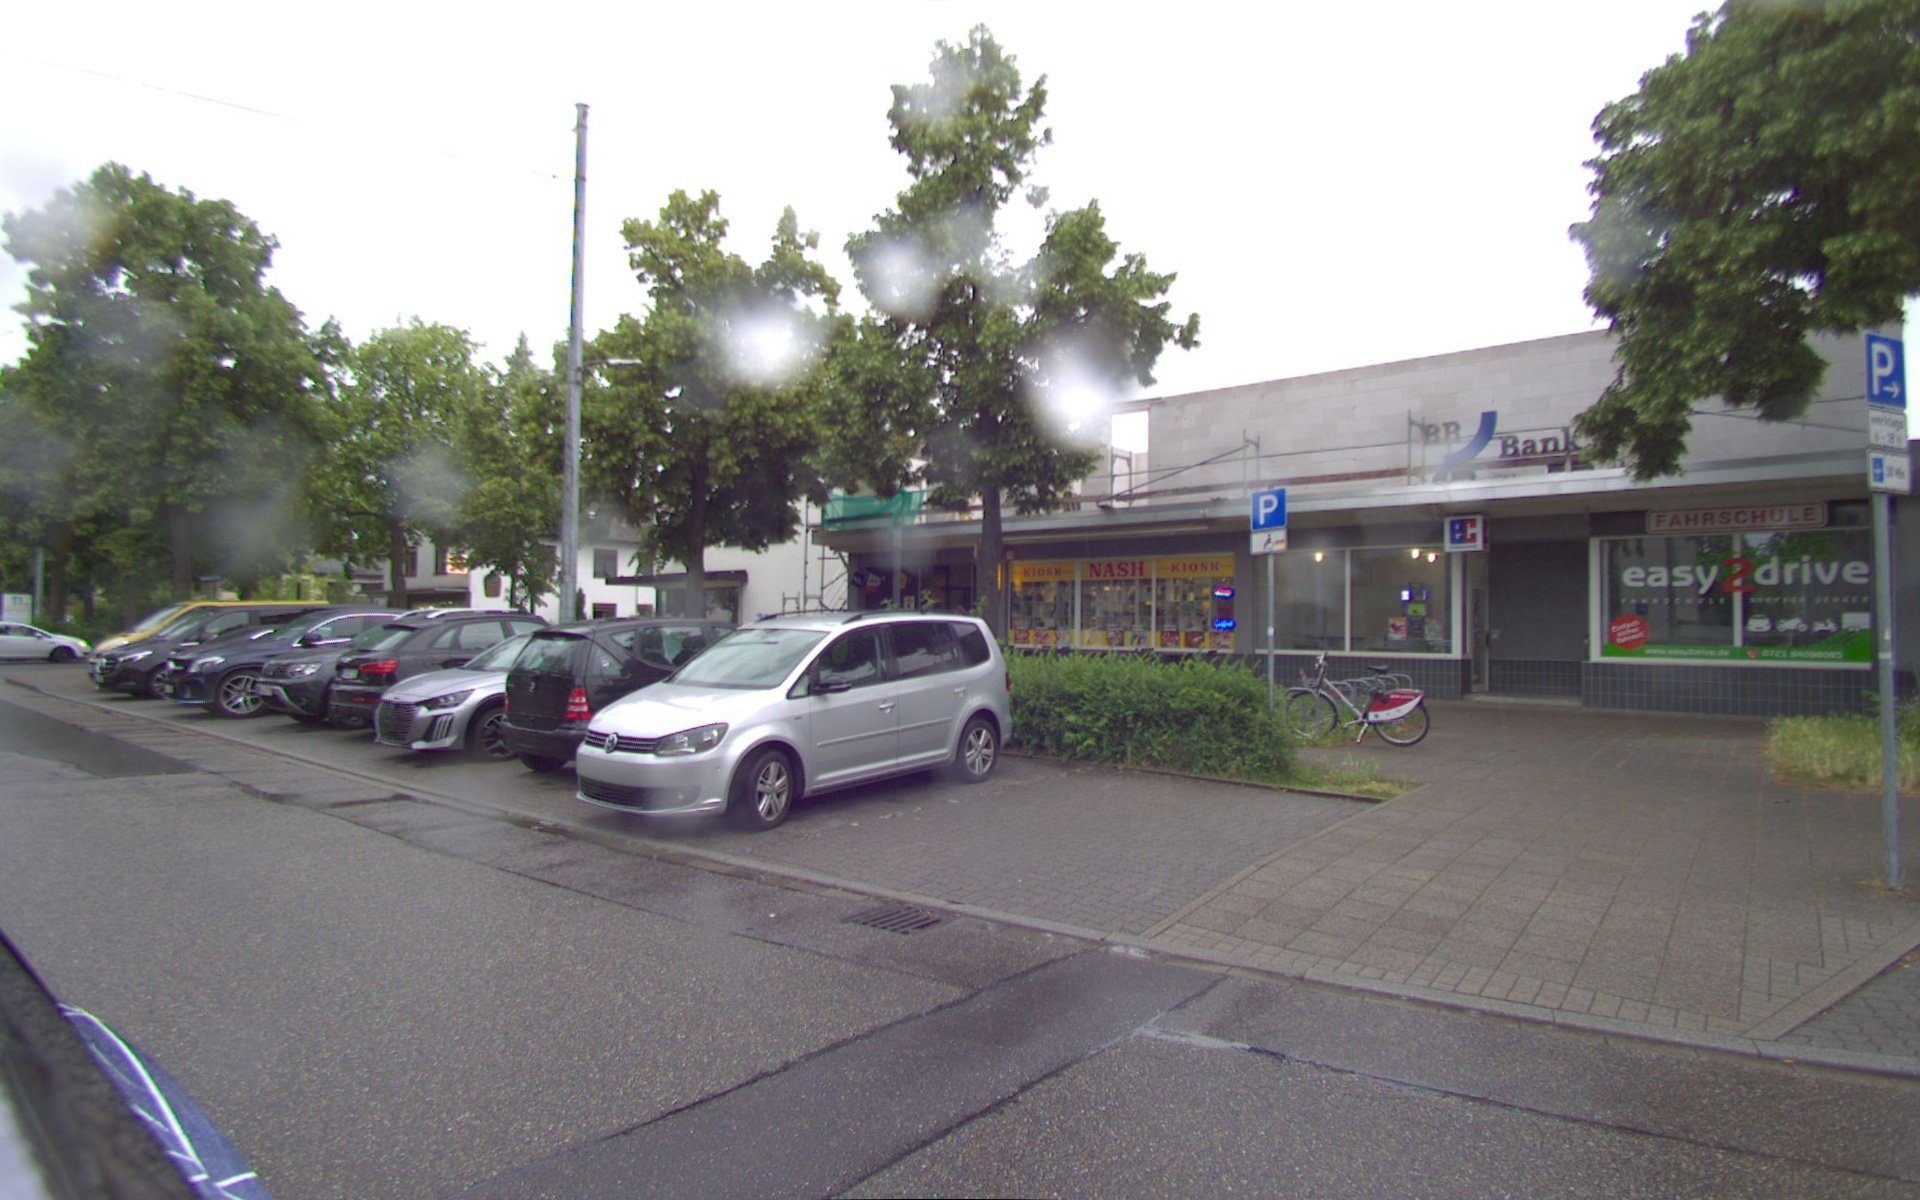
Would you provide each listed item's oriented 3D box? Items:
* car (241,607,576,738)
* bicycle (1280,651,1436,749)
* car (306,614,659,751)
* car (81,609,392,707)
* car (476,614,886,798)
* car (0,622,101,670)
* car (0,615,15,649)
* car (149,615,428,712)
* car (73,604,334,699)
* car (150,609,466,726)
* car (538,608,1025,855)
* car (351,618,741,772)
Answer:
[{"bbox_3d":[-8.329,0.981,15.635,1.713,1.740,4.231,-1,-1,38],"label":"car"},{"bbox_3d":[4.834,1.194,12.349,1.739,1.115,0.316,-1,0,25],"label":"bicycle"},{"bbox_3d":[-6.571,1.023,14.344,1.713,1.607,4.231,-1,-1,38],"label":"car"},{"bbox_3d":[-15.128,1.103,21.493,1.713,1.813,5.114,-1,-1,38],"label":"car"},{"bbox_3d":[-2.835,0.973,11.142,1.633,1.577,4.231,-1,0,38],"label":"car"},{"bbox_3d":[-31.703,1.542,33.895,1.999,1.465,4.200,-1,0,40],"label":"car"},{"bbox_3d":[-49.754,1.621,50.216,1.997,1.698,3.950,-1,0,37],"label":"car"},{"bbox_3d":[-12.954,1.137,19.748,1.713,1.639,4.231,-1,-1,38],"label":"car"},{"bbox_3d":[-17.437,1.097,23.557,1.713,1.973,4.600,-1,-1,38],"label":"car"},{"bbox_3d":[-10.956,1.028,17.294,1.713,1.740,4.231,-1,-1,38],"label":"car"},{"bbox_3d":[-1.312,0.899,8.990,1.713,1.647,4.231,-1,-1,38],"label":"car"},{"bbox_3d":[-4.934,1.014,12.608,1.713,1.544,4.231,-1,-1,38],"label":"car"}]
